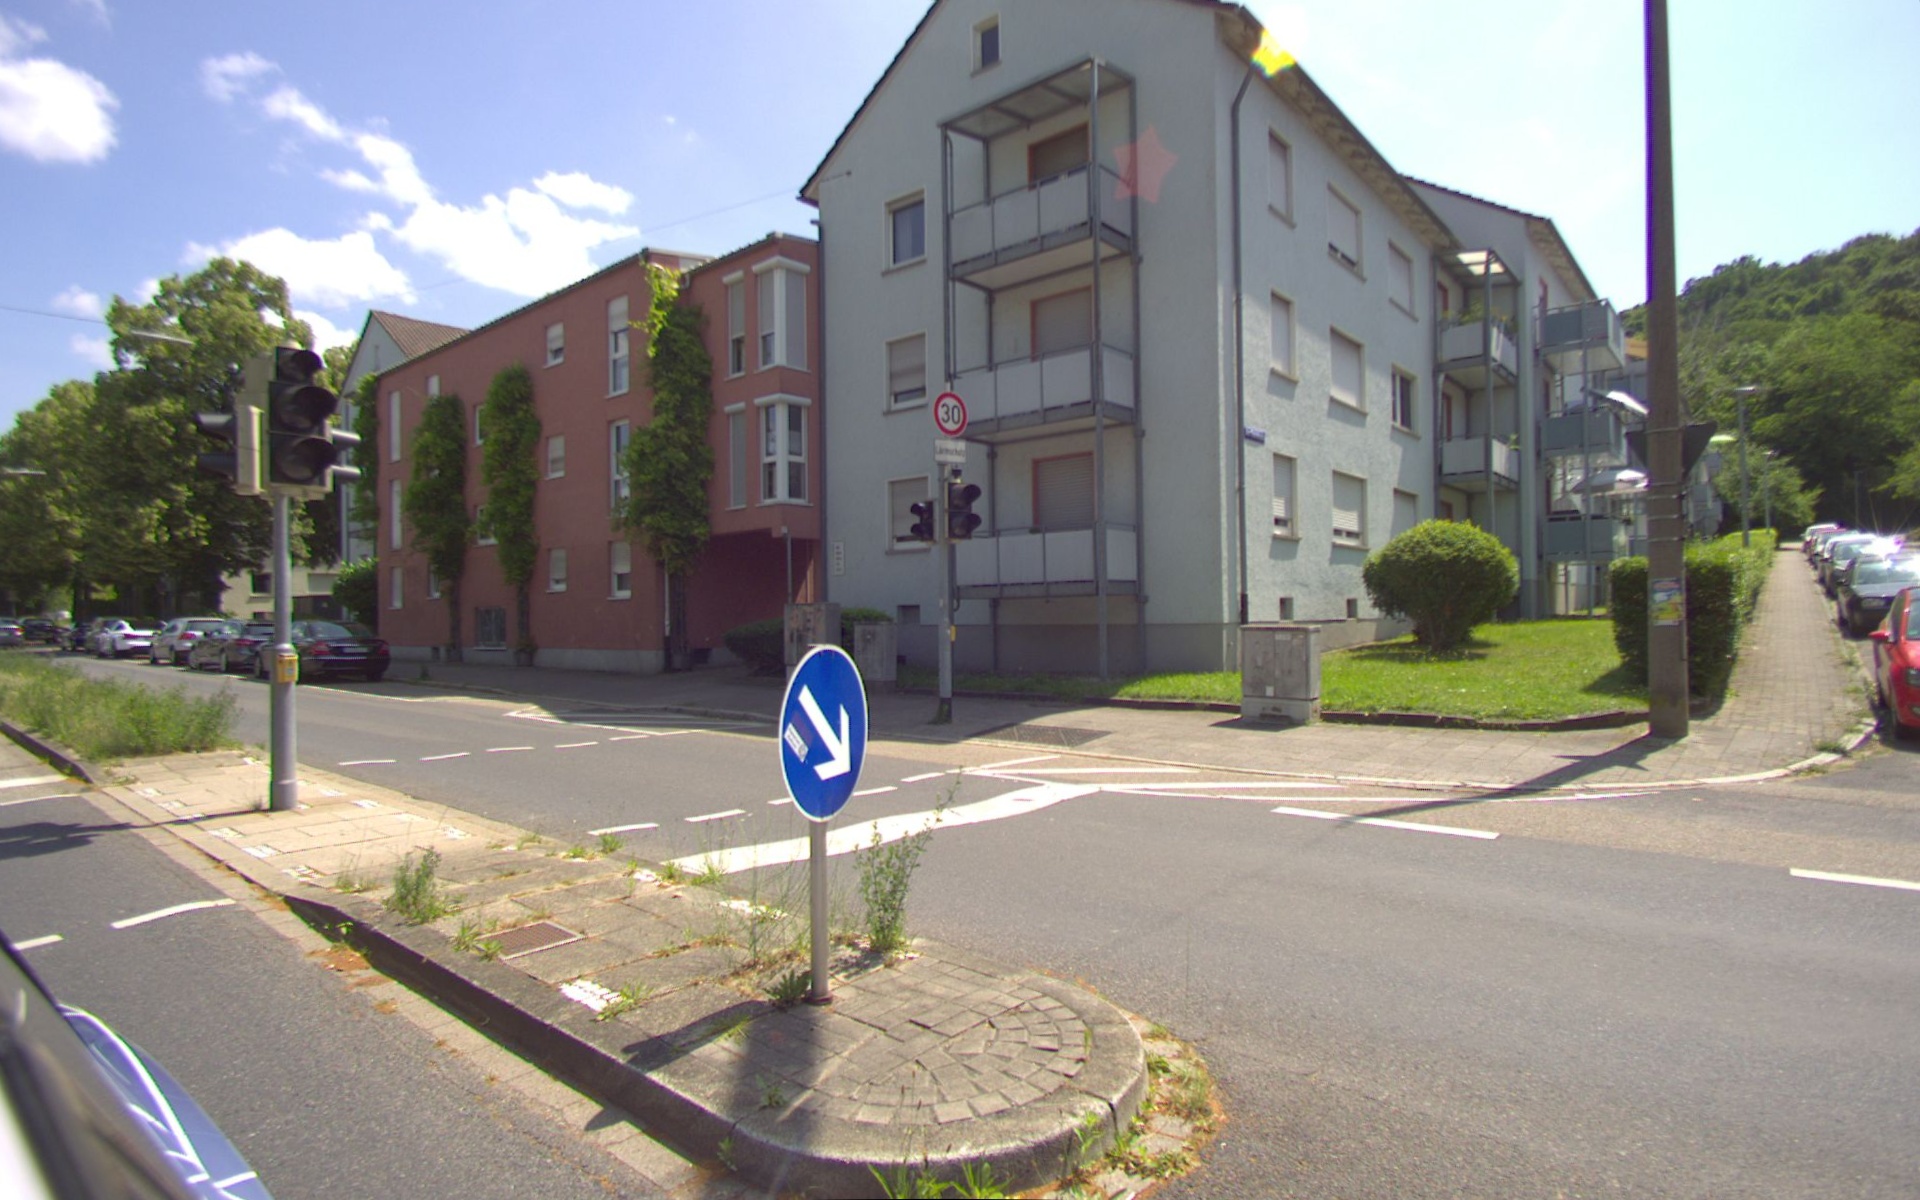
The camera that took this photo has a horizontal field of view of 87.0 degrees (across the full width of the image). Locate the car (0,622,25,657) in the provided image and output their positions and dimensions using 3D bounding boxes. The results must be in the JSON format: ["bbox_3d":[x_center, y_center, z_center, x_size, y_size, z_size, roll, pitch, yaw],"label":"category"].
[{"bbox_3d":[-44.059,1.803,46.049,3.996,1.519,1.730,-1,0,40],"label":"car"}]

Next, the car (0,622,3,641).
[{"bbox_3d":[-68.662,2.240,71.067,3.605,1.343,1.736,-1,0,40],"label":"car"}]

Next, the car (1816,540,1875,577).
[{"bbox_3d":[35.570,-1.676,40.726,1.558,1.239,3.742,-5,0,39],"label":"car"}]

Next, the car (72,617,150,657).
[{"bbox_3d":[-34.703,1.494,41.340,3.996,1.519,1.730,-1,0,40],"label":"car"}]

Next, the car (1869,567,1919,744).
[{"bbox_3d":[10.696,0.441,10.409,1.731,1.462,3.949,-3,2,39],"label":"car"}]

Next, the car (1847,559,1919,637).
[{"bbox_3d":[17.674,-0.098,18.686,1.731,1.160,3.742,-6,0,39],"label":"car"}]

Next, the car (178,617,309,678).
[{"bbox_3d":[-20.095,1.280,28.327,4.564,1.551,1.867,-1,-1,39],"label":"car"}]

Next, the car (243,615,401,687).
[{"bbox_3d":[-15.286,1.165,24.171,4.564,1.551,1.867,-1,-1,39],"label":"car"}]

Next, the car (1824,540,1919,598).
[{"bbox_3d":[24.074,-0.854,26.730,1.731,1.239,3.742,-6,0,39],"label":"car"}]

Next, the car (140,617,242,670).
[{"bbox_3d":[-24.658,1.353,32.407,3.996,1.519,1.730,-1,0,40],"label":"car"}]

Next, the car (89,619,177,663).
[{"bbox_3d":[-30.056,1.455,36.749,3.996,1.453,1.730,-1,0,40],"label":"car"}]

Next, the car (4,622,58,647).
[{"bbox_3d":[-51.889,1.906,56.517,3.605,1.343,1.736,-1,0,40],"label":"car"}]

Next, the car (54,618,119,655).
[{"bbox_3d":[-38.611,1.577,44.712,3.996,1.519,1.552,-1,0,40],"label":"car"}]
